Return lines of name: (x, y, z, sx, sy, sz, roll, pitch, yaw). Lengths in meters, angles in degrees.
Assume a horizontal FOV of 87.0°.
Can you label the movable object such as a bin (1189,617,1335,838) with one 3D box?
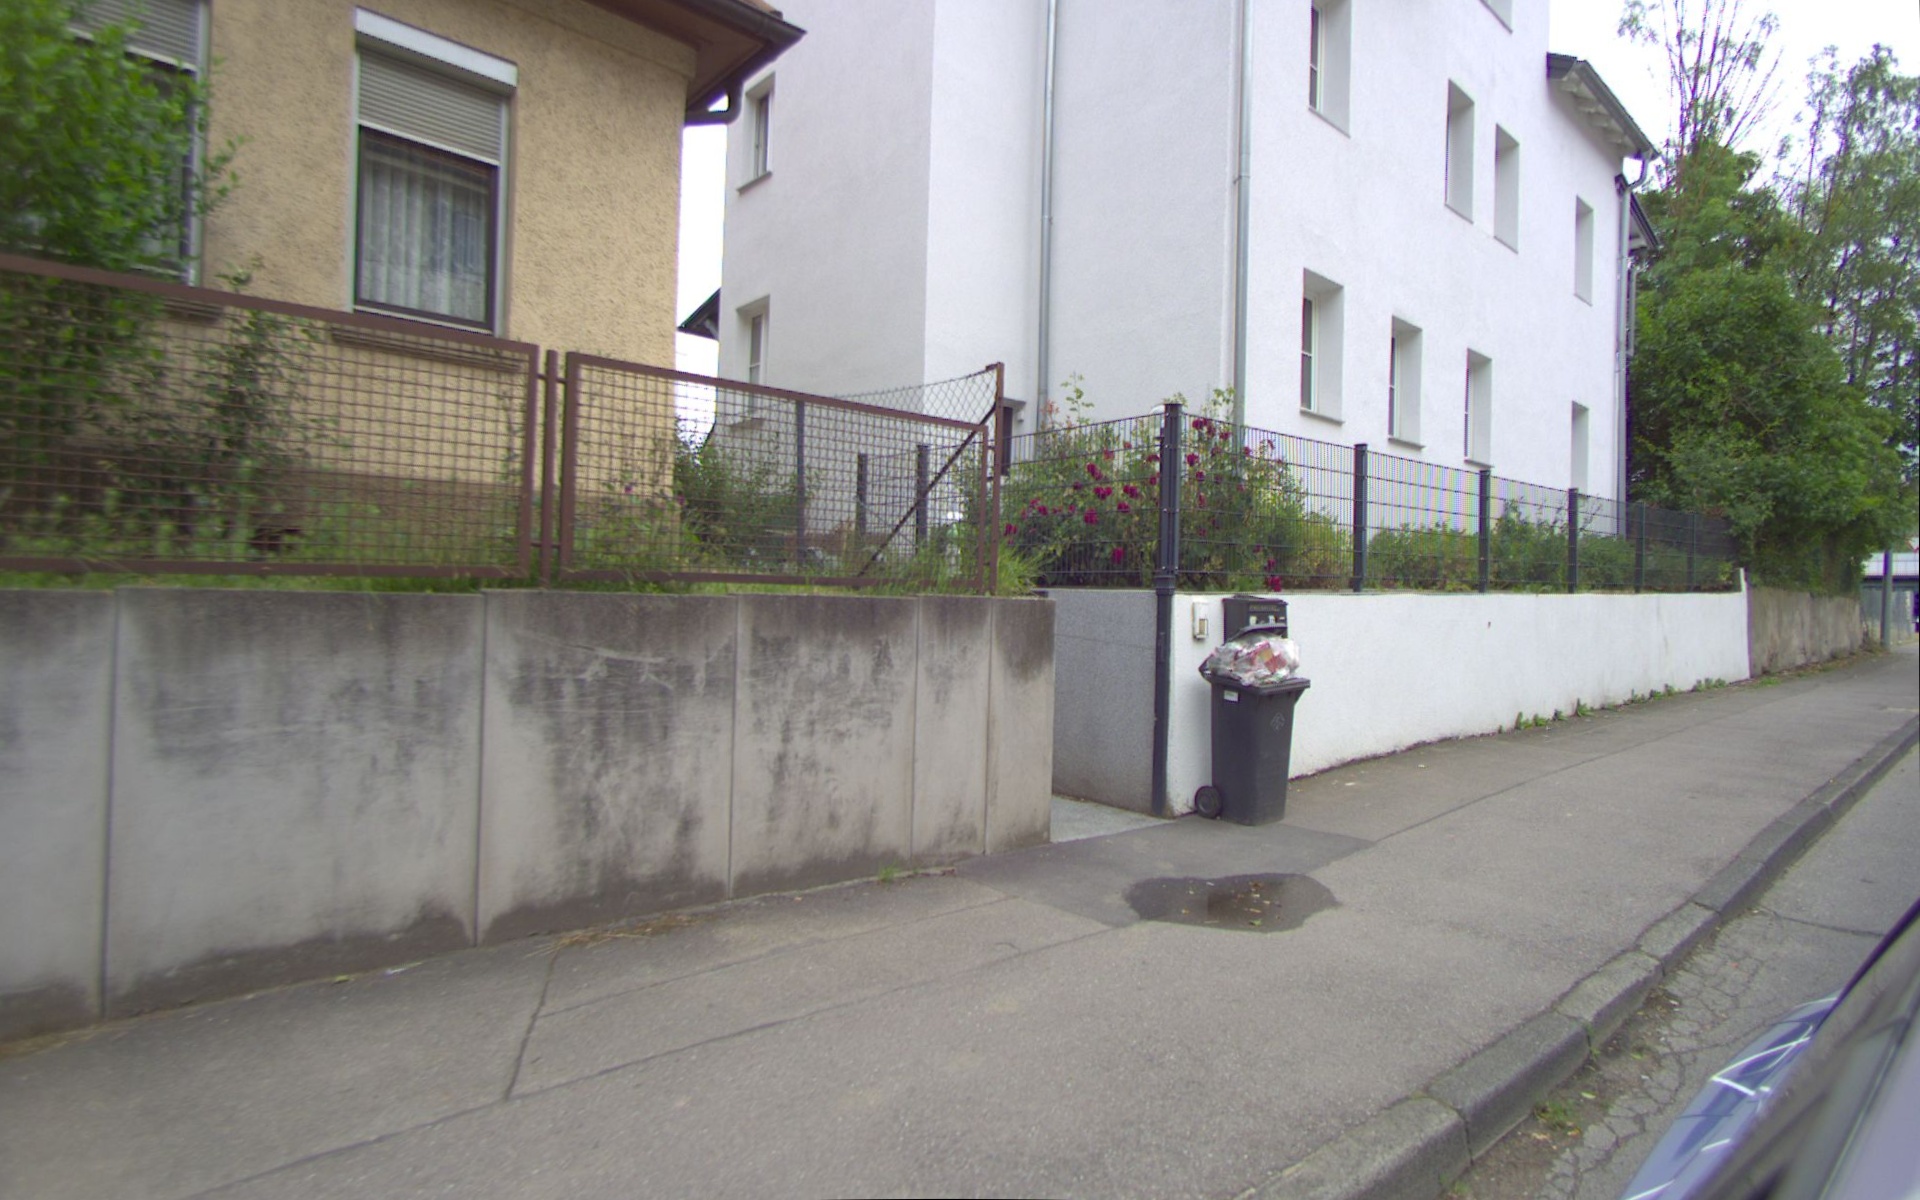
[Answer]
movable object such as a bin: (1.816, 0.724, 6.085, 0.623, 1.192, 0.529, 1, 4, -42)
